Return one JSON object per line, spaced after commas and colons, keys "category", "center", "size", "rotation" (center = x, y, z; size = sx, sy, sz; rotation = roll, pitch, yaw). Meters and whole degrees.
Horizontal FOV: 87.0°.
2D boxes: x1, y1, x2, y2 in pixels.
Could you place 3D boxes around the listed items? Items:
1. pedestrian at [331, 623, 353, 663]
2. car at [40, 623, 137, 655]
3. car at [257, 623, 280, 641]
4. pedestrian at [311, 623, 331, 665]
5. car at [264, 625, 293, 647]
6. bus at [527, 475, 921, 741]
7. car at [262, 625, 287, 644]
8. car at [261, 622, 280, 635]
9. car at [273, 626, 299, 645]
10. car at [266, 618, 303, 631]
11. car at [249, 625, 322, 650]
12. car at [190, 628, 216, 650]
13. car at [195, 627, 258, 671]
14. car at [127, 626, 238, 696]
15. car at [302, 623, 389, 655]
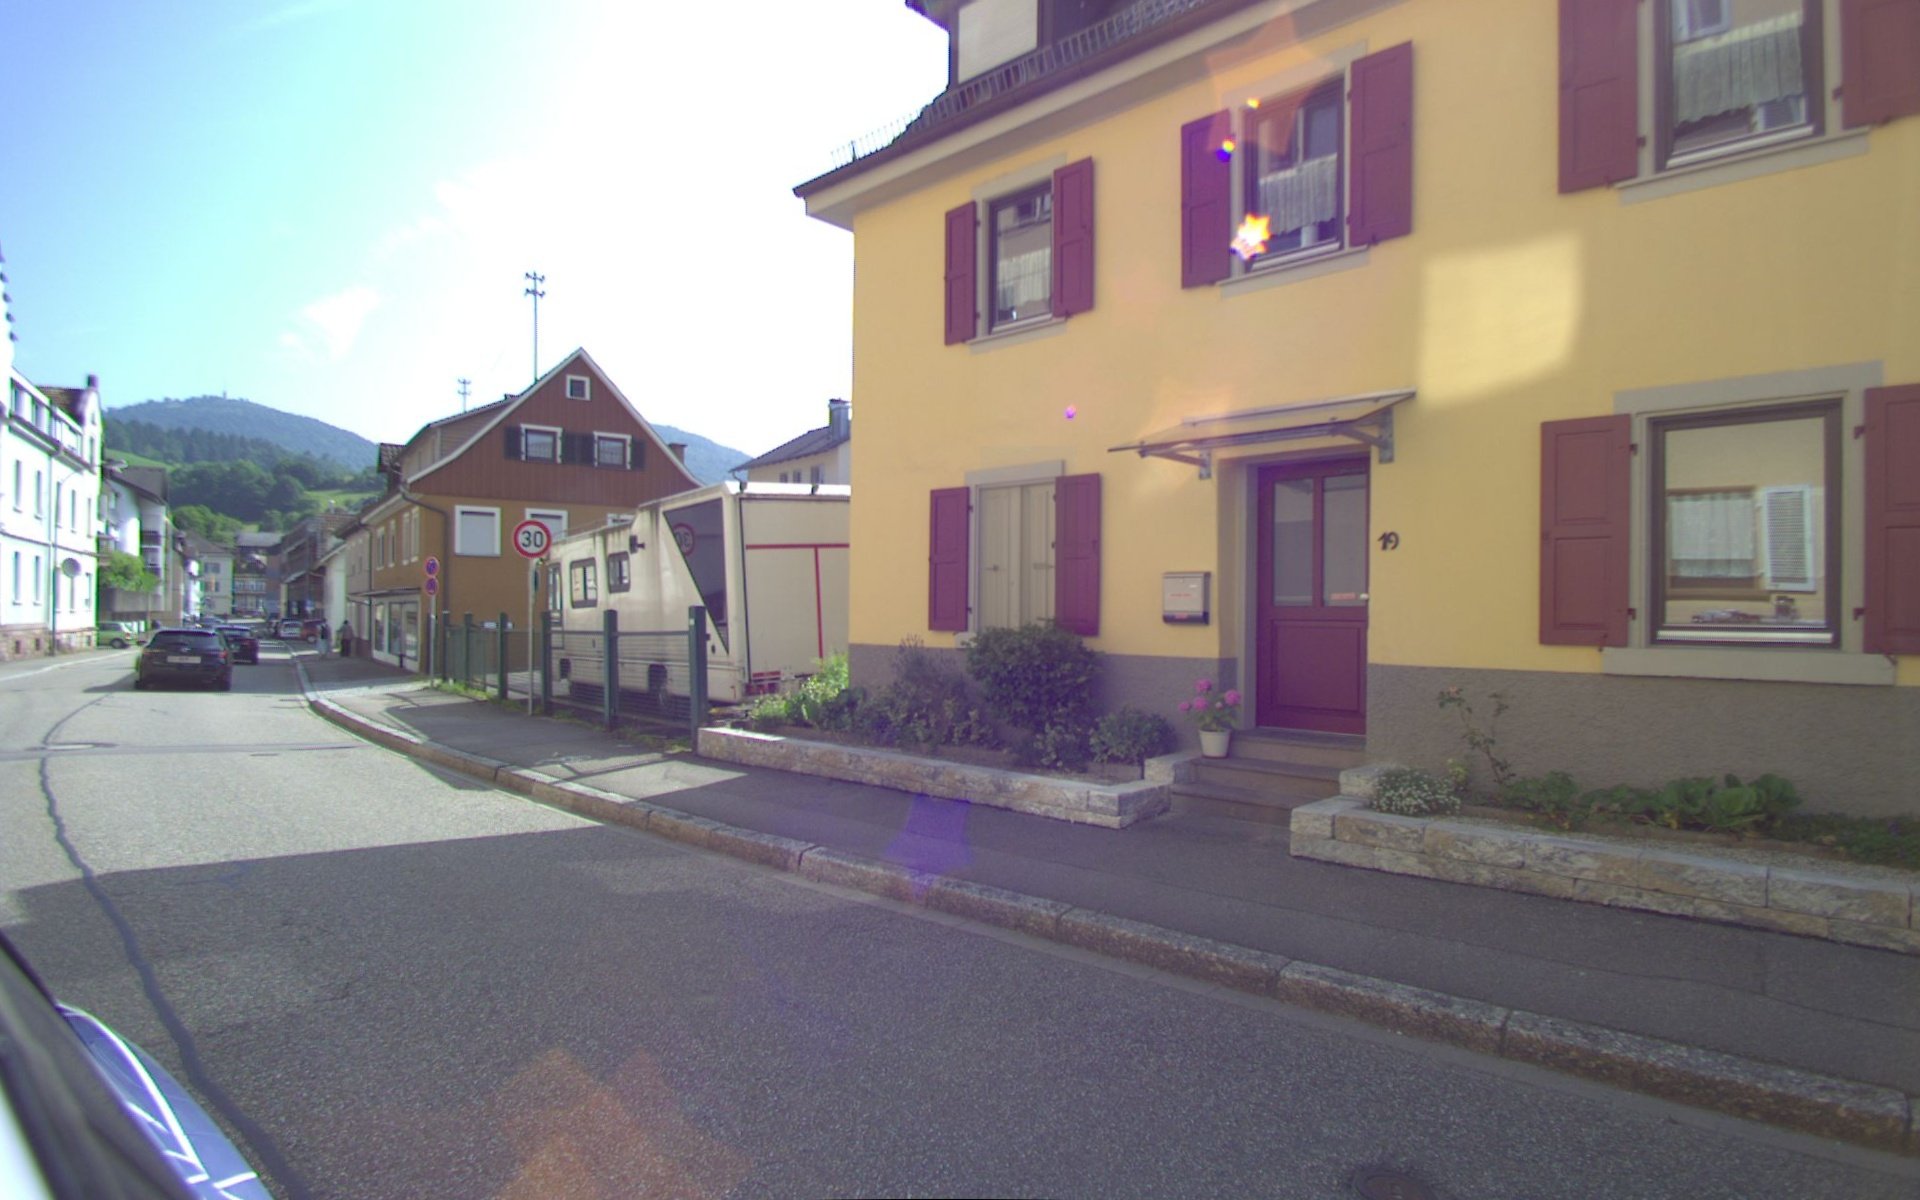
{"category": "pedestrian", "center": [-25.295, 1.738, 41.417], "size": [0.725, 1.576, 0.826], "rotation": [-1, -1, -34]}
{"category": "car", "center": [-46.849, 2.105, 54.469], "size": [3.597, 1.475, 1.607], "rotation": [5, -4, -29]}
{"category": "car", "center": [-65.260, 3.020, 95.490], "size": [1.652, 1.567, 3.773], "rotation": [0, -1, -37]}
{"category": "pedestrian", "center": [-25.925, 1.779, 41.027], "size": [0.631, 1.638, 0.779], "rotation": [-2, 0, -34]}
{"category": "car", "center": [-56.774, 2.983, 84.320], "size": [1.697, 1.810, 4.278], "rotation": [1, -2, -38]}
{"category": "bus", "center": [-4.452, 0.158, 16.828], "size": [2.784, 3.252, 9.054], "rotation": [-2, 0, -38]}
{"category": "car", "center": [-60.533, 3.002, 89.293], "size": [1.653, 1.601, 3.958], "rotation": [0, -2, -37]}
{"category": "car", "center": [-88.609, 3.682, 130.048], "size": [1.759, 1.587, 3.898], "rotation": [-2, 1, -36]}
{"category": "car", "center": [-54.246, 2.887, 81.454], "size": [1.644, 1.443, 3.577], "rotation": [-1, -1, -35]}
{"category": "car", "center": [-92.422, 3.322, 138.455], "size": [3.940, 1.697, 1.836], "rotation": [2, -4, -44]}
{"category": "car", "center": [-45.871, 2.544, 68.924], "size": [3.930, 1.675, 1.829], "rotation": [1, -3, -26]}
{"category": "car", "center": [-76.314, 3.911, 101.968], "size": [1.968, 2.029, 4.007], "rotation": [0, 0, -39]}
{"category": "car", "center": [-27.831, 1.835, 38.343], "size": [1.725, 1.464, 4.036], "rotation": [6, -4, -37]}
{"category": "car", "center": [-18.229, 1.404, 23.884], "size": [1.636, 1.460, 4.270], "rotation": [4, -4, -33]}
{"category": "car", "center": [-33.723, 2.093, 55.560], "size": [3.935, 1.606, 1.911], "rotation": [0, -1, -38]}
